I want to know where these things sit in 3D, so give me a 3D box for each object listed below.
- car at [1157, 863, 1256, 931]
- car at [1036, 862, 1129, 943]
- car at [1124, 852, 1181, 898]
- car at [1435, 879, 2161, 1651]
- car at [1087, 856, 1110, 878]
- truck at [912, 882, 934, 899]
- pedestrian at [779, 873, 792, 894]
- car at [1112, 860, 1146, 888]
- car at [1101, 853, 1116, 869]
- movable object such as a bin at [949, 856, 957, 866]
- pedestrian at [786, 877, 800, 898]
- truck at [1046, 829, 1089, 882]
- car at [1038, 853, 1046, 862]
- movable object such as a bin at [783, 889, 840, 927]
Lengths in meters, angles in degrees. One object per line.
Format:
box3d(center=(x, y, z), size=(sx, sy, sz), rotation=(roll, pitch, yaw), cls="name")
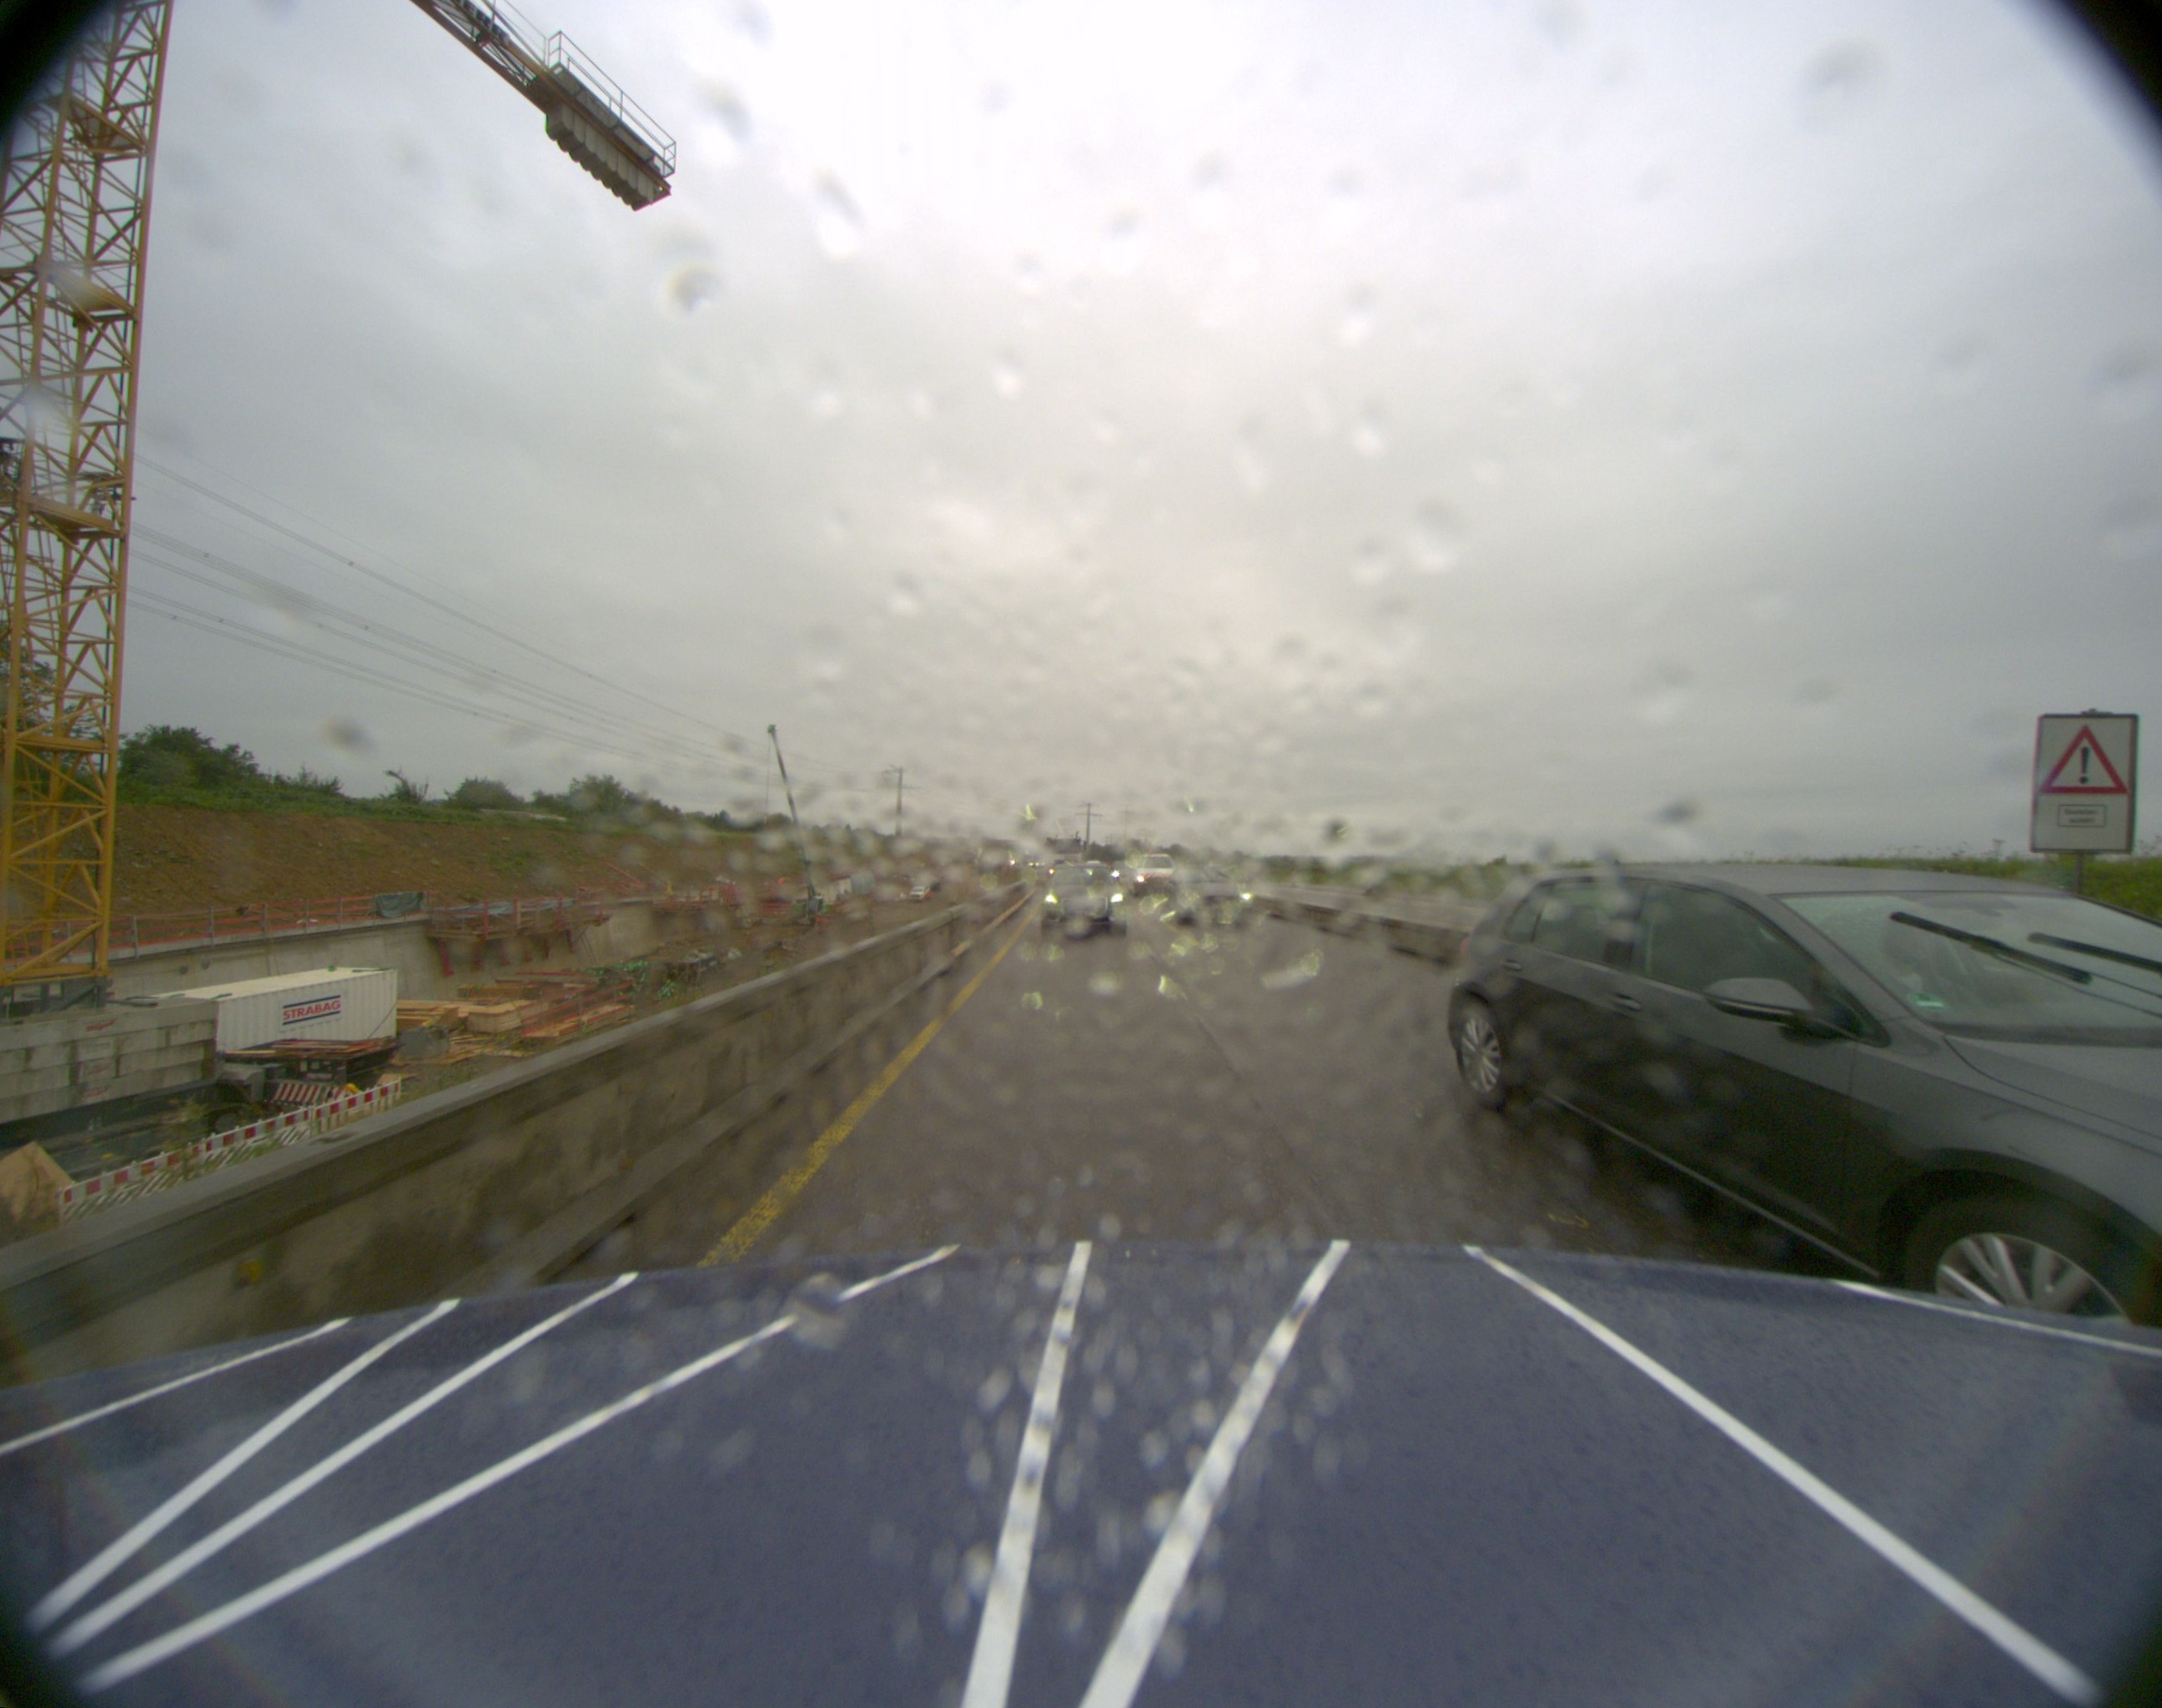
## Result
box3d(center=(3.055, 1.005, 19.348), size=(1.799, 1.389, 4.268), rotation=(-2, 1, 0), cls="car")
box3d(center=(0.073, 0.989, 17.235), size=(1.799, 1.524, 4.308), rotation=(-2, 0, 1), cls="car")
box3d(center=(3.161, 0.880, 34.490), size=(2.160, 1.848, 5.179), rotation=(-2, 1, 1), cls="car")
box3d(center=(3.052, 0.897, 2.807), size=(1.653, 1.414, 4.080), rotation=(-1, 1, 1), cls="car")
box3d(center=(1.602, 1.187, 70.364), size=(1.800, 1.850, 4.286), rotation=(-2, 1, -2), cls="car")
box3d(center=(-20.001, 4.640, 96.395), size=(1.767, 1.860, 5.784), rotation=(1, 0, -3), cls="truck")
box3d(center=(-34.175, 3.421, 87.921), size=(0.918, 2.233, 1.005), rotation=(-6, 2, -7), cls="pedestrian")
box3d(center=(2.928, 1.184, 46.995), size=(1.799, 1.521, 4.067), rotation=(-2, 1, 0), cls="car")
box3d(center=(3.439, 0.892, 96.503), size=(1.799, 1.850, 4.287), rotation=(-2, 1, 1), cls="car")
box3d(center=(-37.191, 1.996, 220.812), size=(2.253, 2.703, 3.997), rotation=(-2, 1, -6), cls="movable object such as a bin")
box3d(center=(-32.844, 3.779, 86.711), size=(0.917, 2.219, 1.005), rotation=(-6, 2, 1), cls="pedestrian")
box3d(center=(-1.018, 0.068, 57.341), size=(2.837, 3.617, 9.118), rotation=(-2, 1, -1), cls="truck")
box3d(center=(-8.512, 0.660, 166.620), size=(1.800, 1.850, 4.285), rotation=(-2, 1, -3), cls="car")
box3d(center=(-24.961, 4.954, 70.676), size=(3.803, 2.790, 4.848), rotation=(-1, 5, -4), cls="movable object such as a bin")
